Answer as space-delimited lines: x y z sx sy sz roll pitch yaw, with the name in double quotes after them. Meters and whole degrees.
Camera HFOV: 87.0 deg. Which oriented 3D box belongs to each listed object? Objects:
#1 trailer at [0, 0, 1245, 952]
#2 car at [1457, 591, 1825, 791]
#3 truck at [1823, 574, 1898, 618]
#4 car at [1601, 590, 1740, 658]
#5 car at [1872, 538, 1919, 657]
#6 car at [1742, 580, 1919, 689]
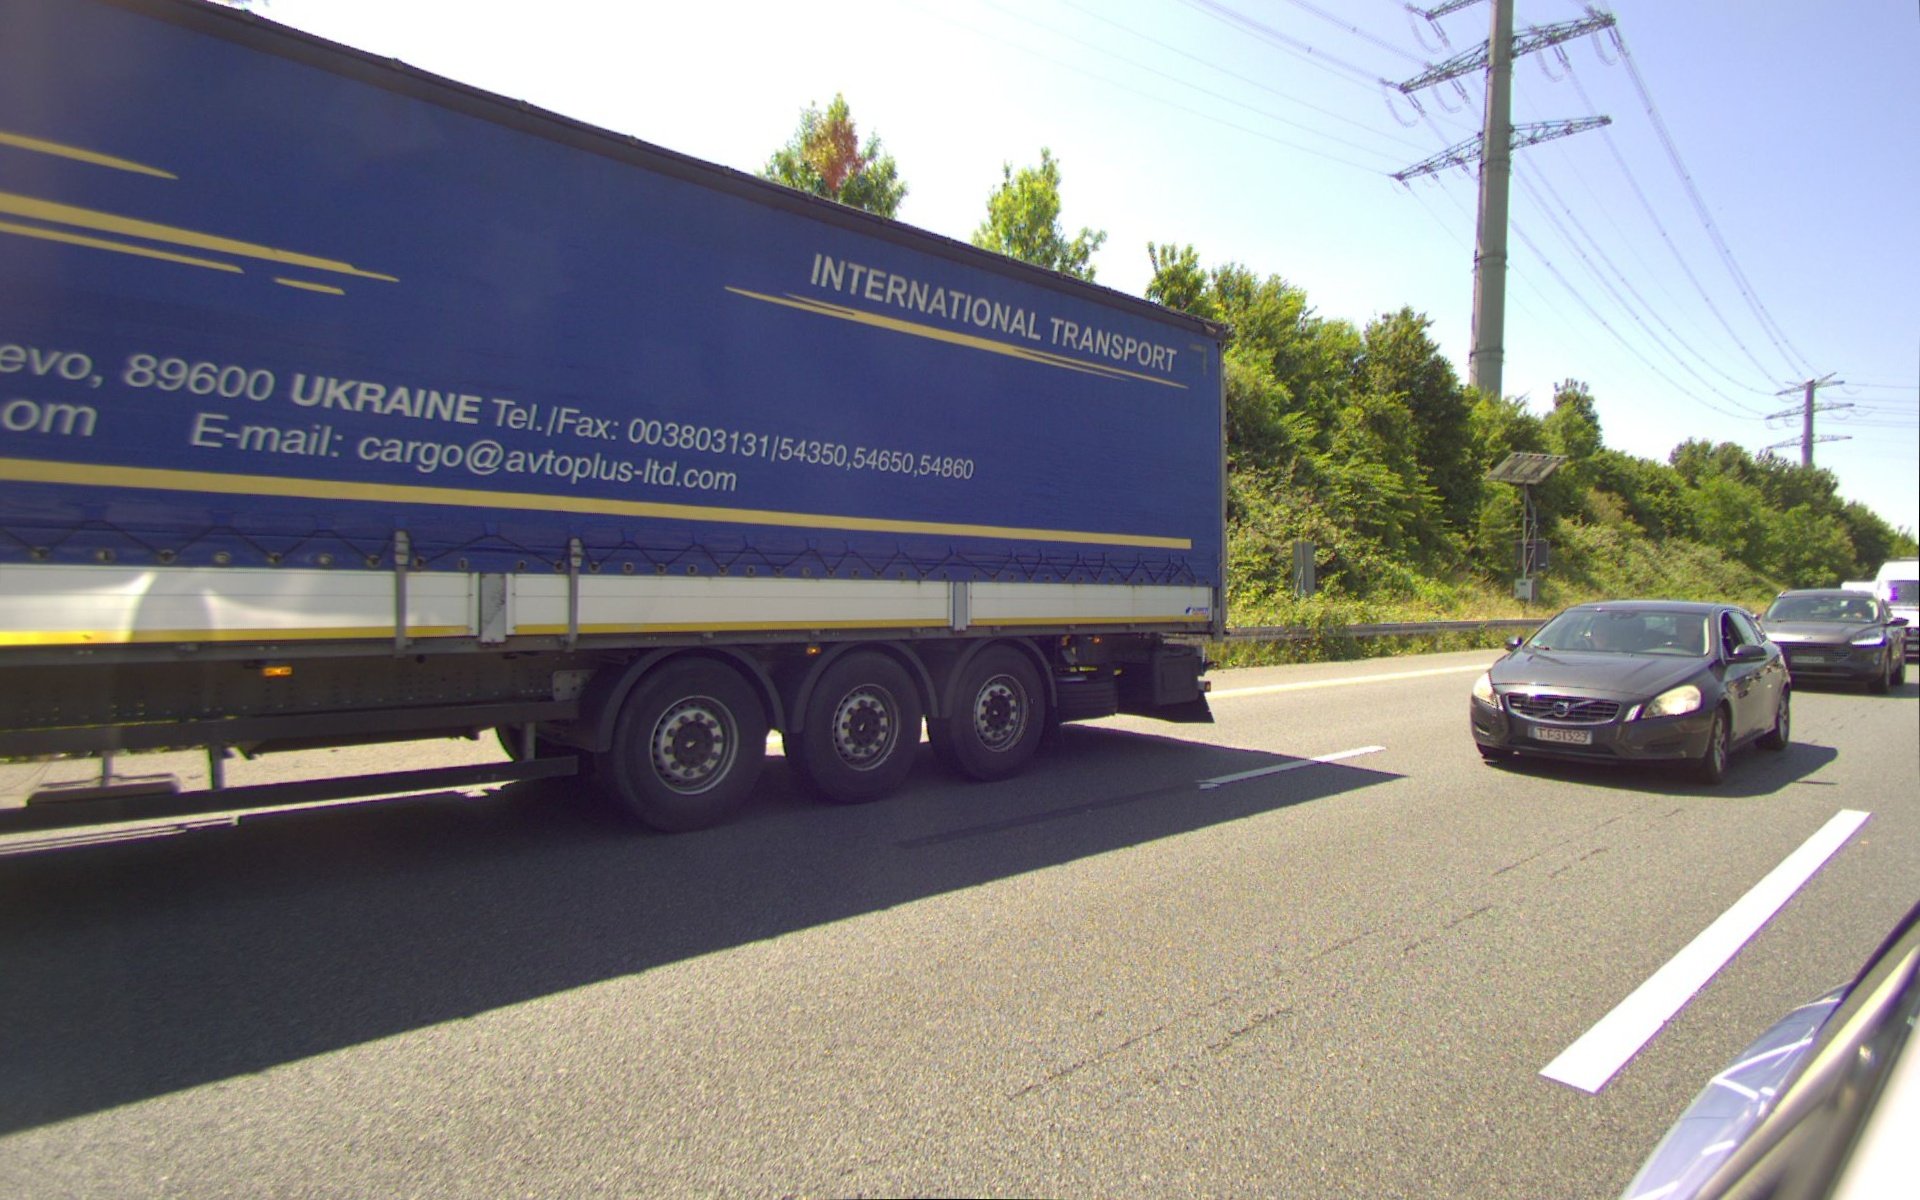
-2.919 -0.806 6.537 12.655 4.317 2.771 0 0 -42 "trailer"
6.496 0.641 9.442 4.432 1.437 1.798 0 0 -41 "car"
47.256 -0.219 53.071 5.629 2.195 2.251 0 0 -41 "truck"
17.779 0.530 25.241 4.770 1.531 1.794 0 0 -42 "car"
24.753 -0.075 25.391 6.590 2.753 2.040 0 0 -42 "car"
14.988 0.498 17.235 4.147 1.631 1.891 0 0 -41 "car"
